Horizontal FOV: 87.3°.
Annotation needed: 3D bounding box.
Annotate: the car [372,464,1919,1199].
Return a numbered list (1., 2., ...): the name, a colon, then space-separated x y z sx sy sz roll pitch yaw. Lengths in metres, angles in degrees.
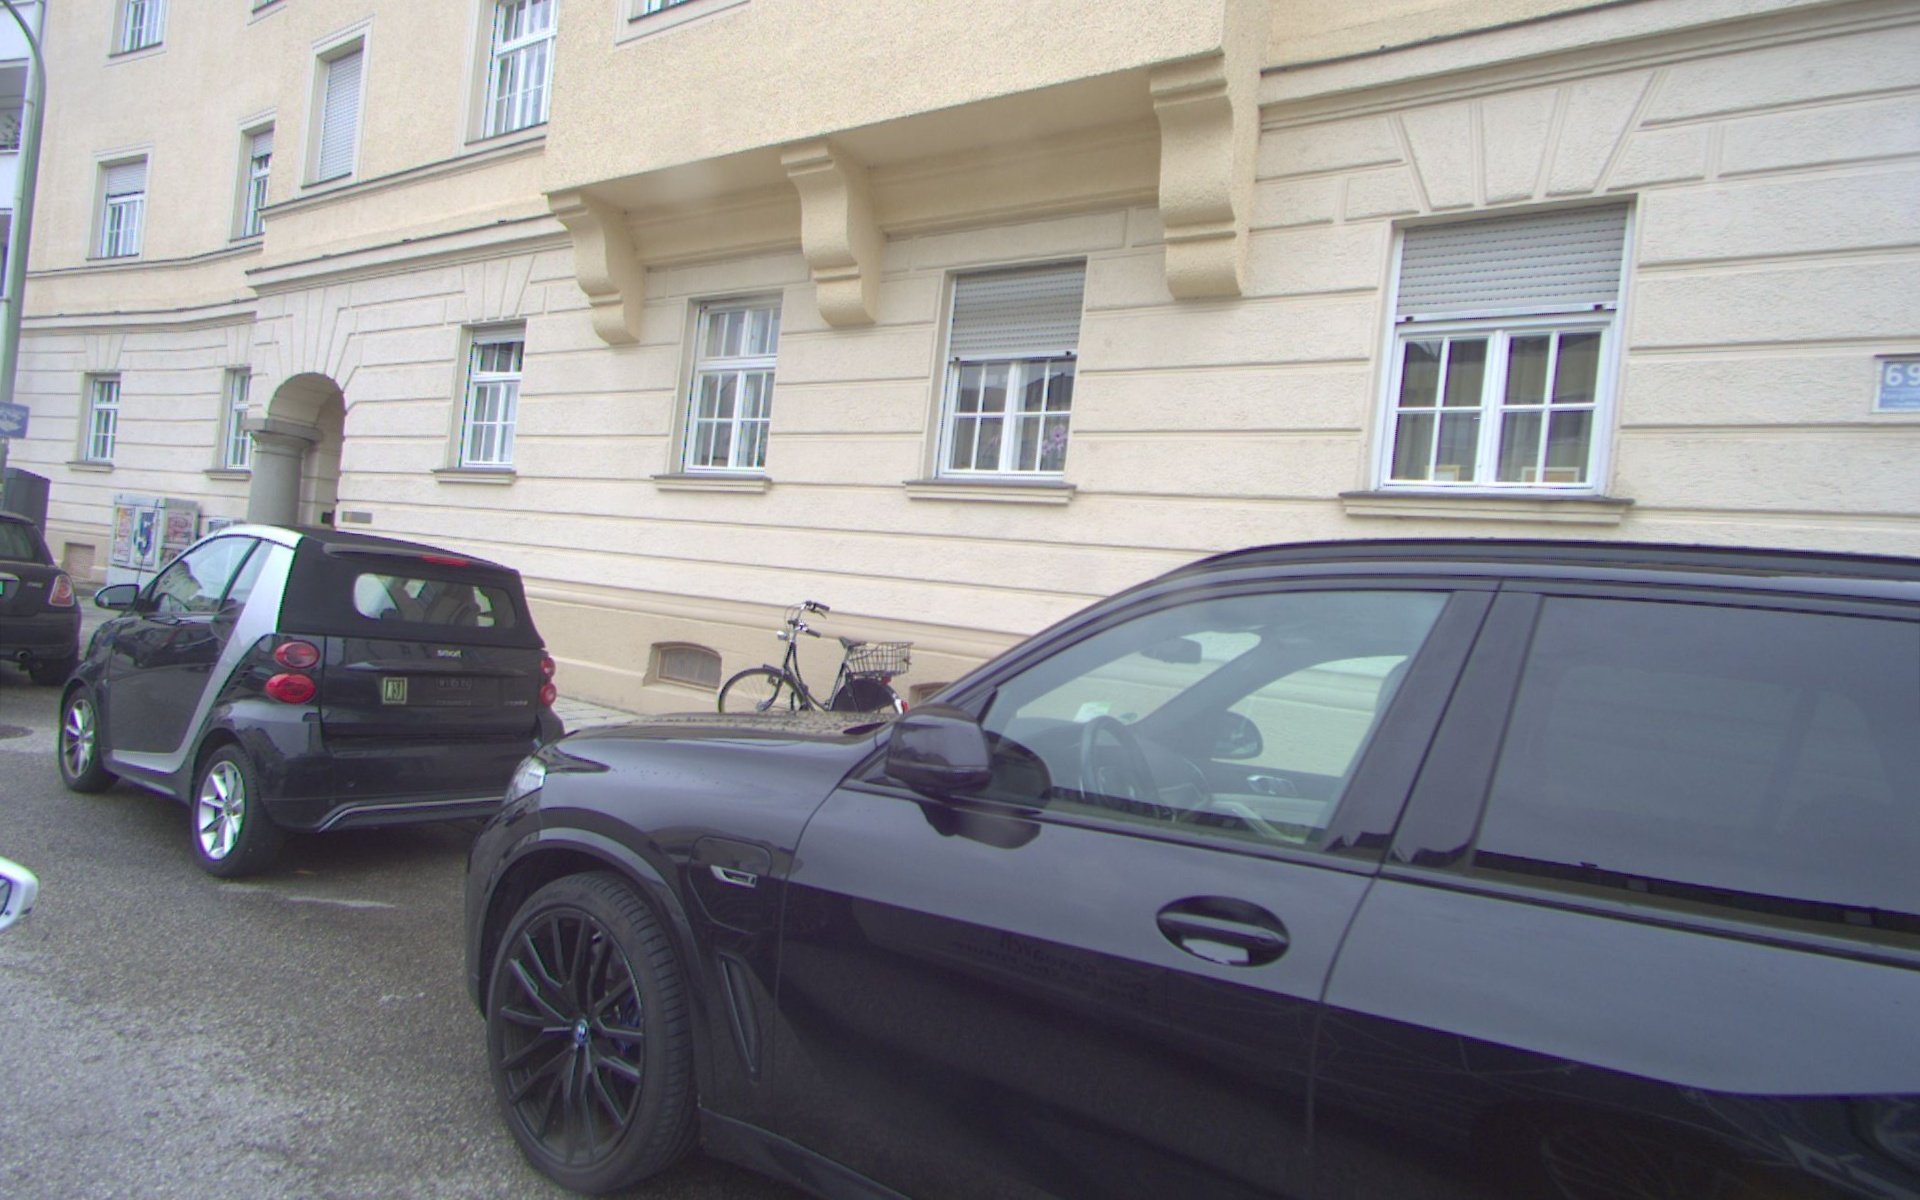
1. car: 0.976 0.784 2.276 4.786 1.737 1.872 6 -2 33

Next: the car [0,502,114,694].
1. car: -9.109 -0.198 8.646 3.768 1.464 1.711 6 -2 33

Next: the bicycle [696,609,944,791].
1. bicycle: -1.128 0.718 7.829 1.921 1.097 0.579 7 3 32

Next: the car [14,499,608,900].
1. car: -3.642 0.392 5.554 3.061 1.541 1.537 6 -2 34
